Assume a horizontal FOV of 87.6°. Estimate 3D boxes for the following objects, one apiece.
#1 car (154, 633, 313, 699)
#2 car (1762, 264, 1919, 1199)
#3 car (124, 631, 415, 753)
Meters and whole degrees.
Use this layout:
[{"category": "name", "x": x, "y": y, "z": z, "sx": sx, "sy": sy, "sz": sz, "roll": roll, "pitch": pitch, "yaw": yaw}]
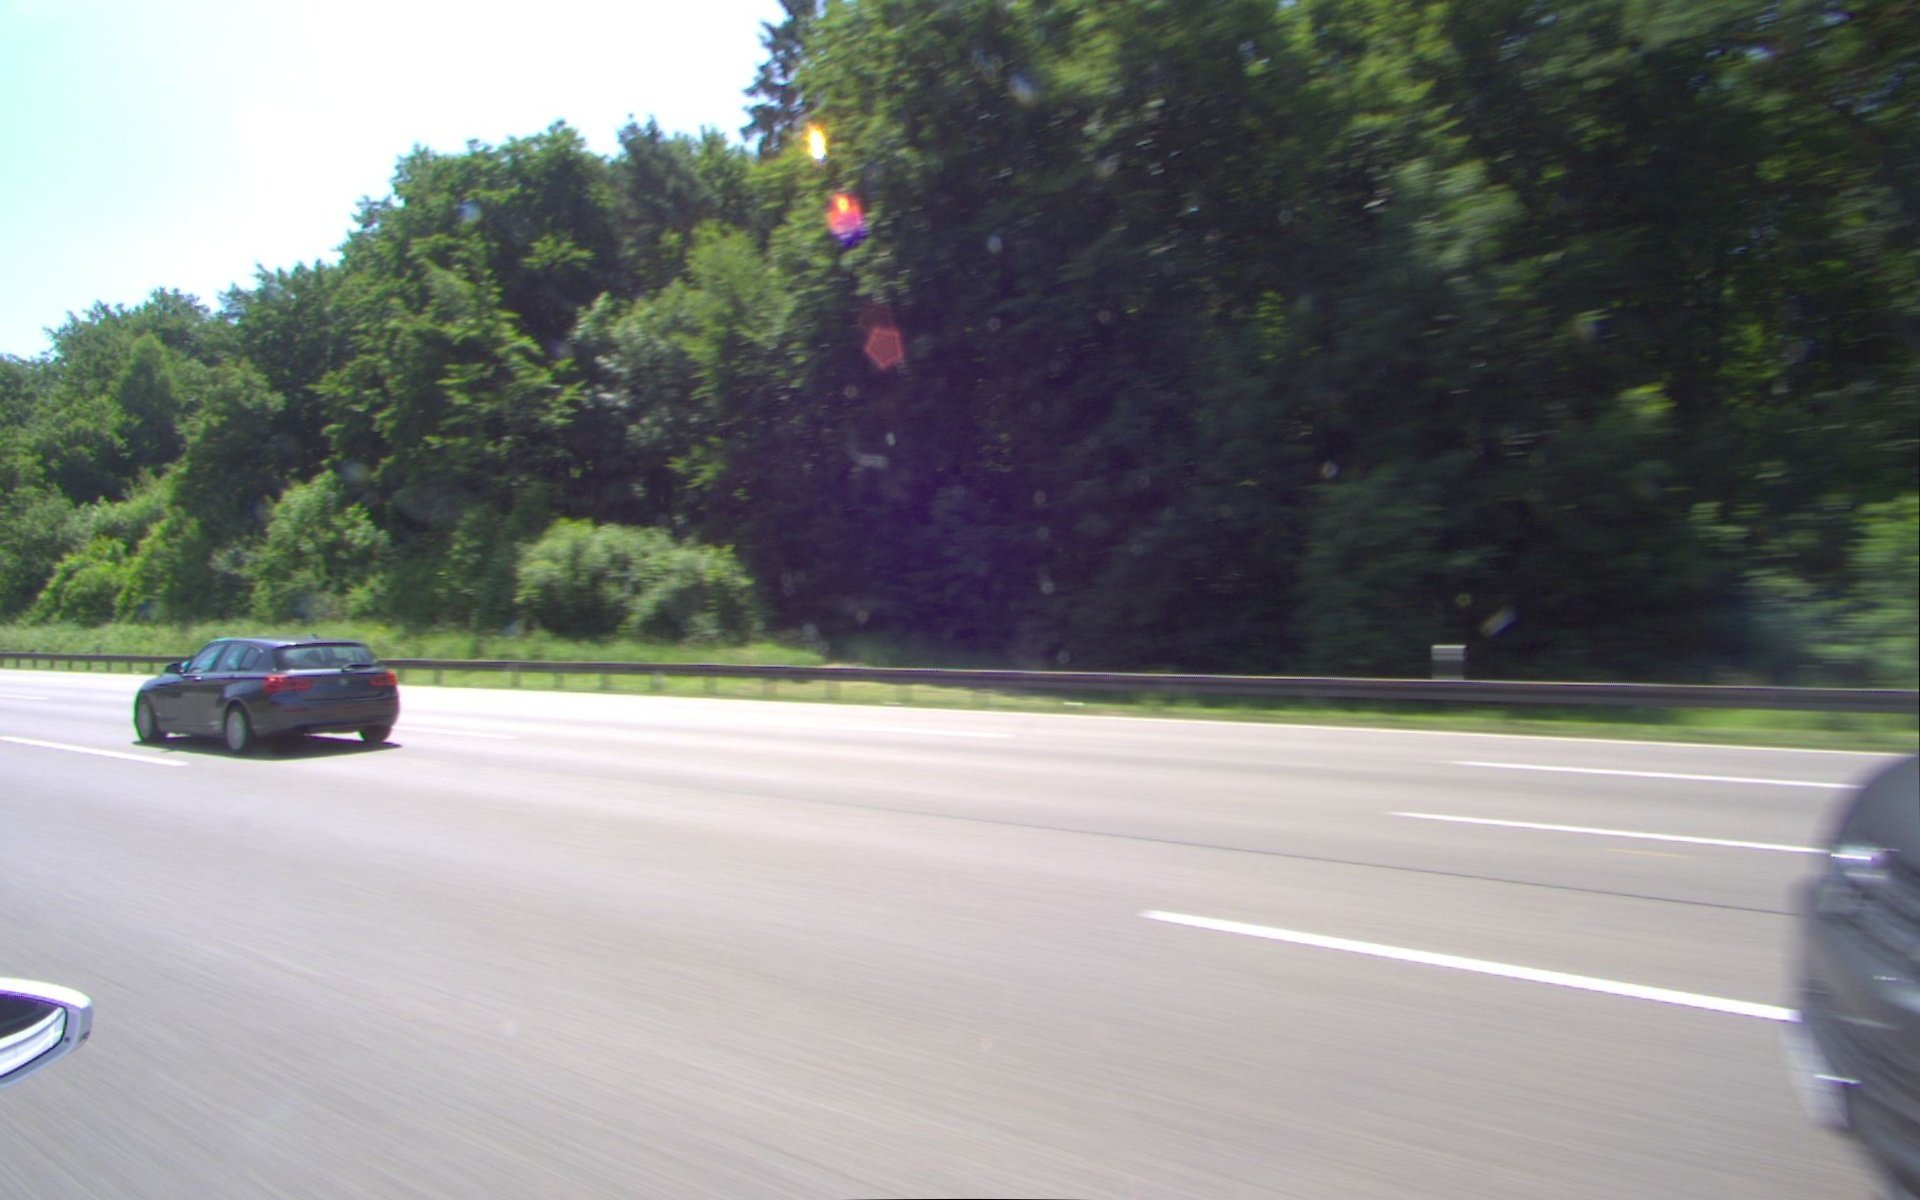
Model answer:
[{"category": "car", "x": -17.300, "y": 1.520, "z": 23.794, "sx": 4.278, "sy": 1.462, "sz": 1.542, "roll": -1, "pitch": -2, "yaw": 31}, {"category": "car", "x": 4.202, "y": 0.422, "z": 1.055, "sx": 5.011, "sy": 2.059, "sz": 1.959, "roll": -1, "pitch": -2, "yaw": 33}, {"category": "car", "x": -9.272, "y": 1.129, "z": 13.371, "sx": 4.093, "sy": 1.414, "sz": 1.700, "roll": -1, "pitch": -2, "yaw": 32}]
